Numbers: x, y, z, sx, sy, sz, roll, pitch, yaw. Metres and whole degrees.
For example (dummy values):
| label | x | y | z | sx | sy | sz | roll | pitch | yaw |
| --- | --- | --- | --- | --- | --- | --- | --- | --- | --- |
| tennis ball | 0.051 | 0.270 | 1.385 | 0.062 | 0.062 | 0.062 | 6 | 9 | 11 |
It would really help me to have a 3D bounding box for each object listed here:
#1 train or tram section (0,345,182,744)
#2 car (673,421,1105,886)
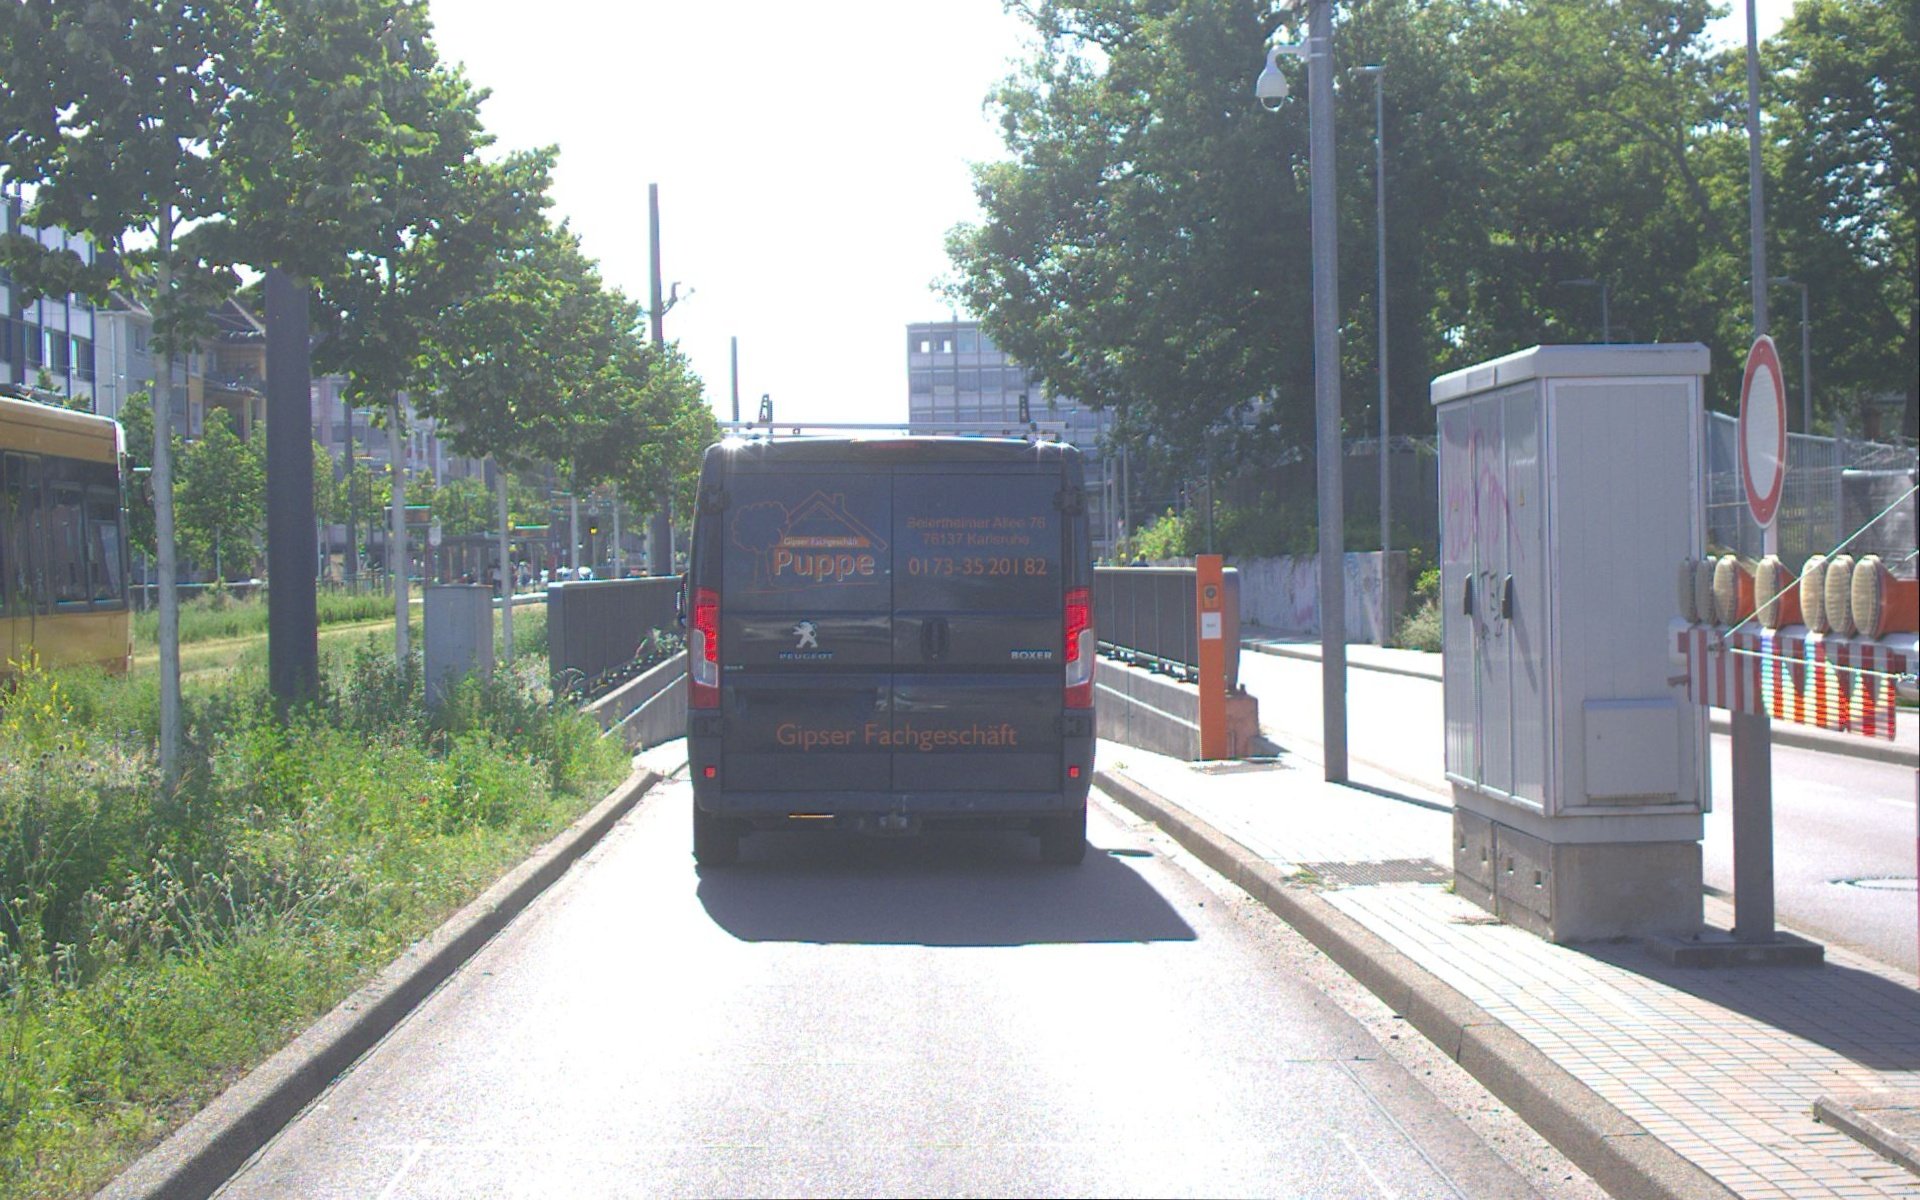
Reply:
| label | x | y | z | sx | sy | sz | roll | pitch | yaw |
| --- | --- | --- | --- | --- | --- | --- | --- | --- | --- |
| train or tram section | -9.825 | -0.527 | 33.614 | 1.993 | 3.657 | 11.684 | 0 | 1 | -1 |
| car | -0.404 | 0.238 | 18.622 | 2.082 | 2.241 | 4.000 | 0 | 0 | -2 |
